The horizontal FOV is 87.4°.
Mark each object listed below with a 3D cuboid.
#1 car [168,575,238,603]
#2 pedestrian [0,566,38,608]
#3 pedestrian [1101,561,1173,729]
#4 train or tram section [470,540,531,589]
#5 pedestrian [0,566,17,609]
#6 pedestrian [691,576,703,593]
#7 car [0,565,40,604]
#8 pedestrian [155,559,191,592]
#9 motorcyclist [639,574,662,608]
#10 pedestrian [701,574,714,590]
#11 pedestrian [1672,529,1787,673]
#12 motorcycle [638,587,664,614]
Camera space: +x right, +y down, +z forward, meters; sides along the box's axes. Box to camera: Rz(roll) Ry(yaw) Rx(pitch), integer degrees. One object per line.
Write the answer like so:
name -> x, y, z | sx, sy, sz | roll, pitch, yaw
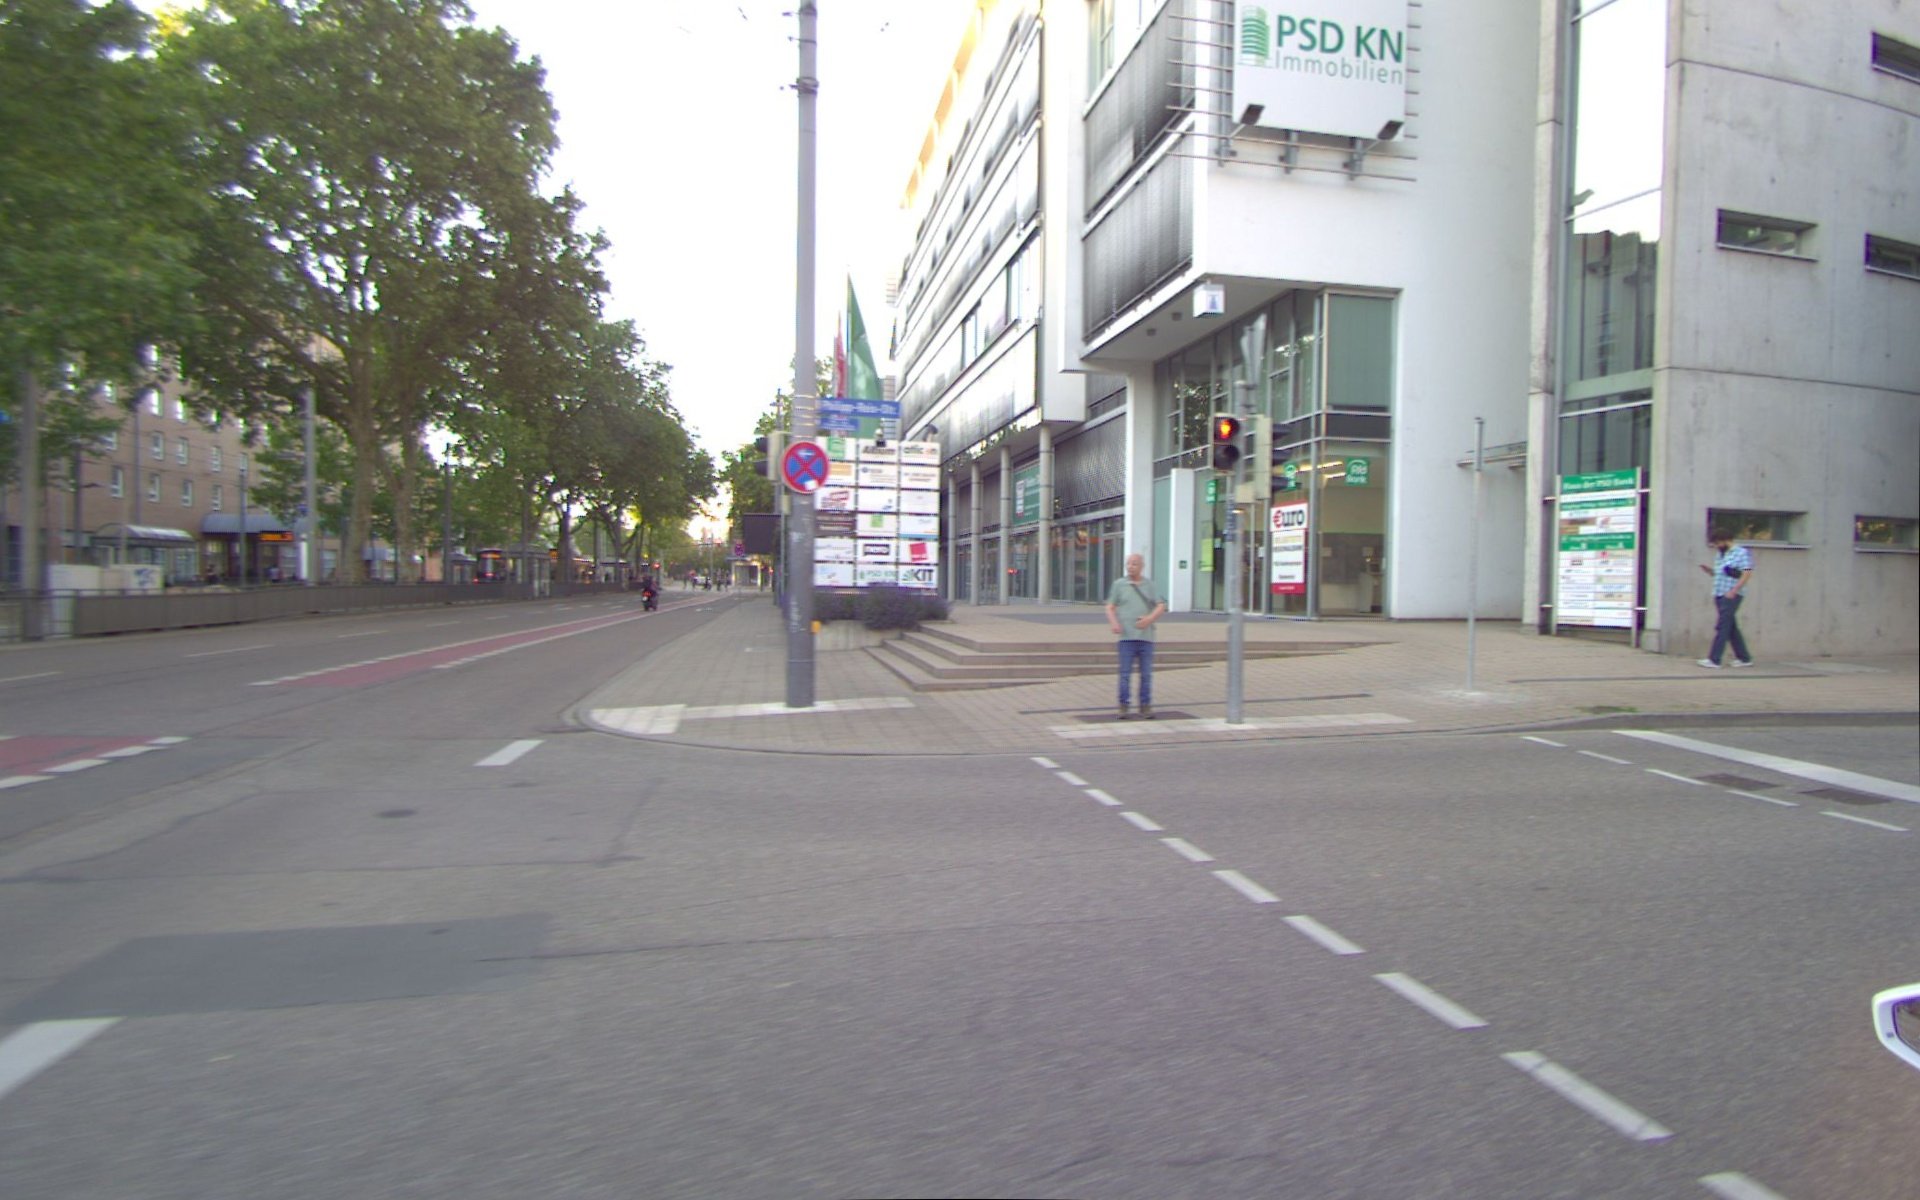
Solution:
car -> -44.745, -0.663, 59.479 | 1.636, 1.617, 4.093 | 0, 1, -11
pedestrian -> -33.900, -0.476, 35.931 | 0.921, 1.473, 0.995 | 0, 2, -12
pedestrian -> 1.883, 0.452, 10.651 | 0.693, 1.724, 0.546 | 1, 2, 16
train or tram section -> -34.640, -2.635, 76.044 | 2.298, 3.434, 10.502 | 0, 2, -14
pedestrian -> -33.699, -0.434, 34.933 | 0.921, 1.473, 0.995 | 0, 2, -12
pedestrian -> -33.112, -1.945, 126.595 | 1.058, 2.041, 1.197 | 1, 2, 15
car -> -40.556, -0.661, 41.618 | 1.636, 1.617, 4.093 | 0, 1, -11
pedestrian -> -35.968, -1.112, 45.916 | 0.921, 1.473, 0.995 | 0, 2, -12
motorcyclist -> -14.976, -0.455, 48.635 | 0.925, 1.603, 1.026 | 0, 2, -9
pedestrian -> -32.255, -2.318, 128.493 | 1.061, 2.041, 1.193 | 1, 2, 32
pedestrian -> 10.716, -0.005, 14.016 | 0.863, 1.909, 0.698 | 0, 8, -14
motorcycle -> -14.997, -0.003, 48.790 | 0.925, 1.243, 2.168 | 0, 2, -9
